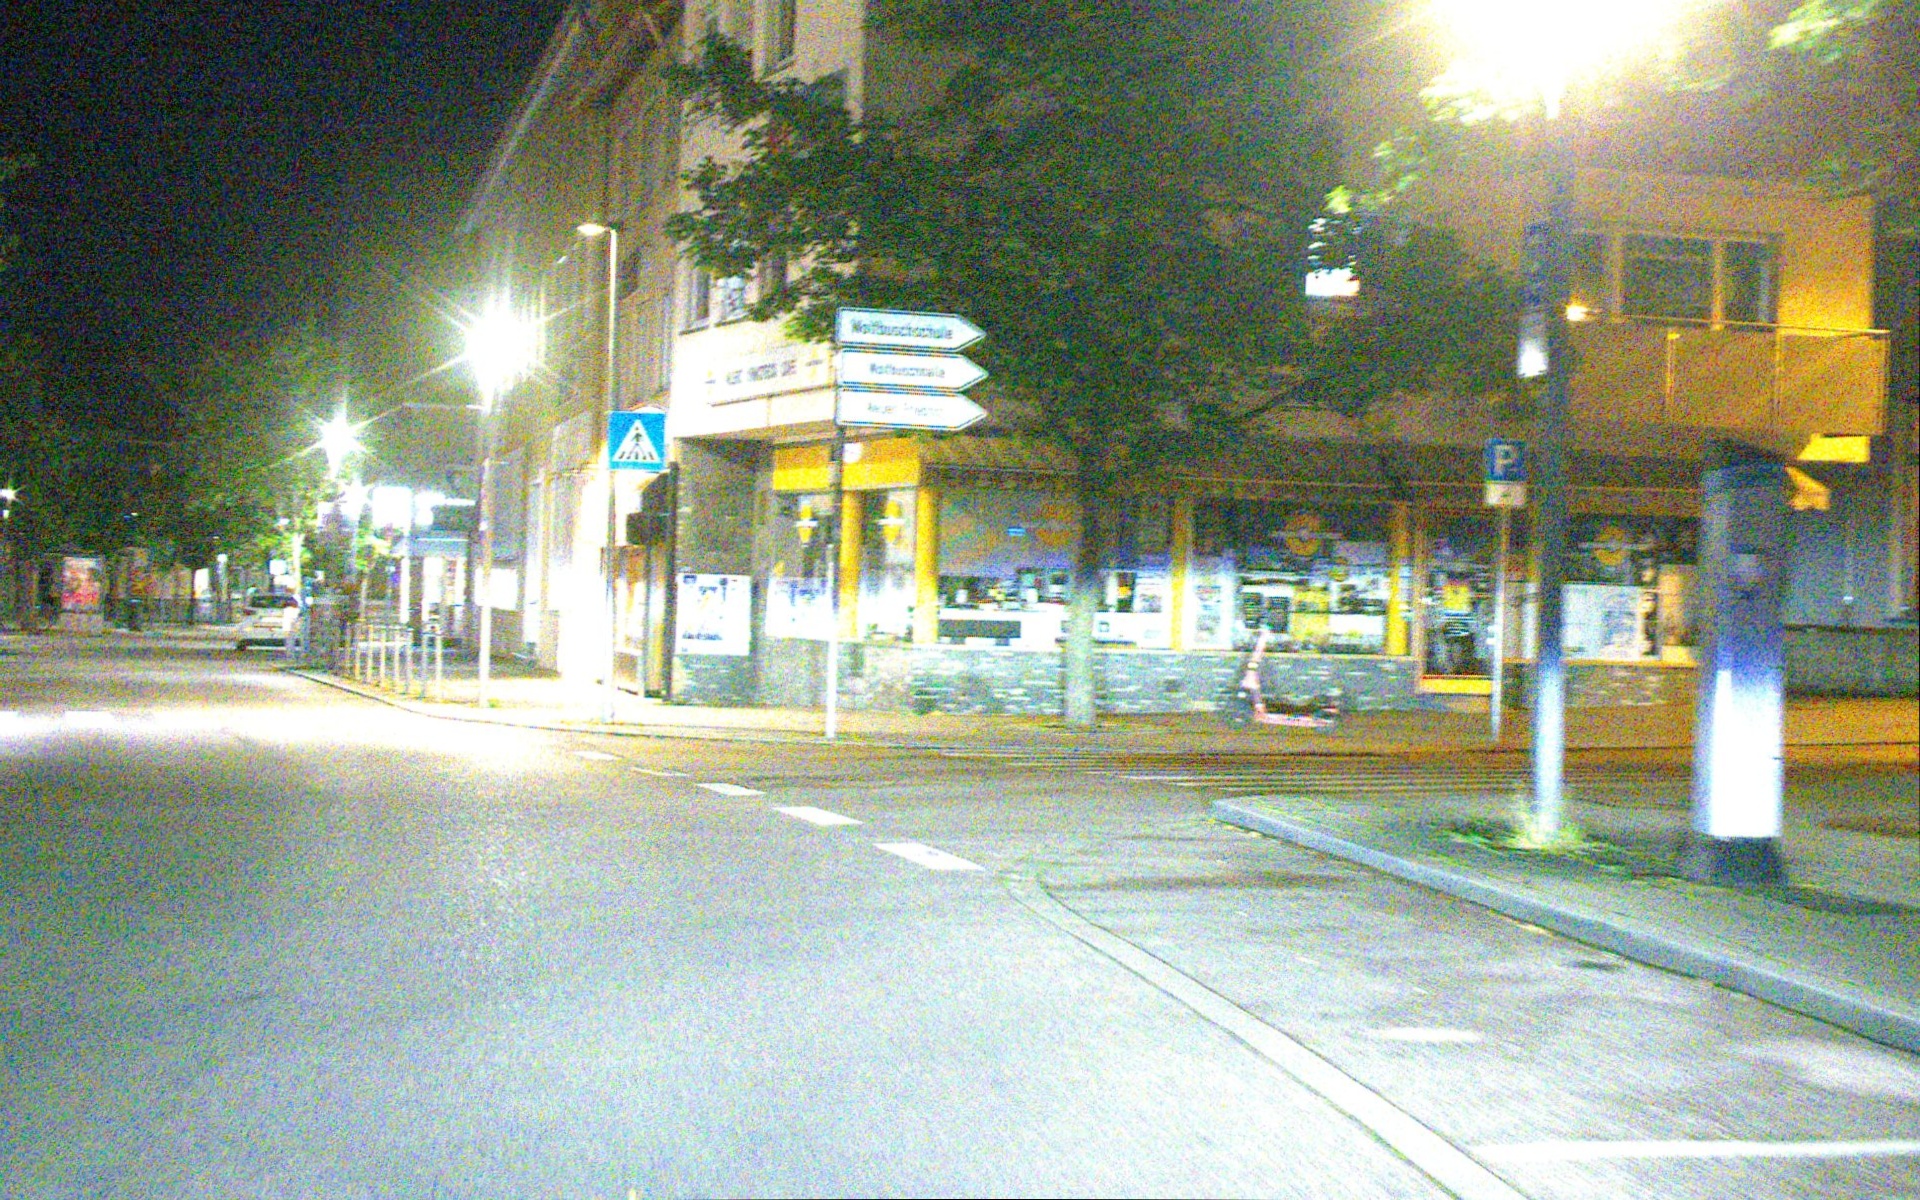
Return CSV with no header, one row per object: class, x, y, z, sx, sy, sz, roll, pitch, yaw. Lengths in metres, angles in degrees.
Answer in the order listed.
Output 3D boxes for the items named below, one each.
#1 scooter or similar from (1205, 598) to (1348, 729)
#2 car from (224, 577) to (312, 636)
scooter or similar,3.127,0.628,34.037,1.246,1.223,0.598,2,1,-8
car,-17.390,0.150,86.336,1.833,1.354,4.001,0,2,-16
